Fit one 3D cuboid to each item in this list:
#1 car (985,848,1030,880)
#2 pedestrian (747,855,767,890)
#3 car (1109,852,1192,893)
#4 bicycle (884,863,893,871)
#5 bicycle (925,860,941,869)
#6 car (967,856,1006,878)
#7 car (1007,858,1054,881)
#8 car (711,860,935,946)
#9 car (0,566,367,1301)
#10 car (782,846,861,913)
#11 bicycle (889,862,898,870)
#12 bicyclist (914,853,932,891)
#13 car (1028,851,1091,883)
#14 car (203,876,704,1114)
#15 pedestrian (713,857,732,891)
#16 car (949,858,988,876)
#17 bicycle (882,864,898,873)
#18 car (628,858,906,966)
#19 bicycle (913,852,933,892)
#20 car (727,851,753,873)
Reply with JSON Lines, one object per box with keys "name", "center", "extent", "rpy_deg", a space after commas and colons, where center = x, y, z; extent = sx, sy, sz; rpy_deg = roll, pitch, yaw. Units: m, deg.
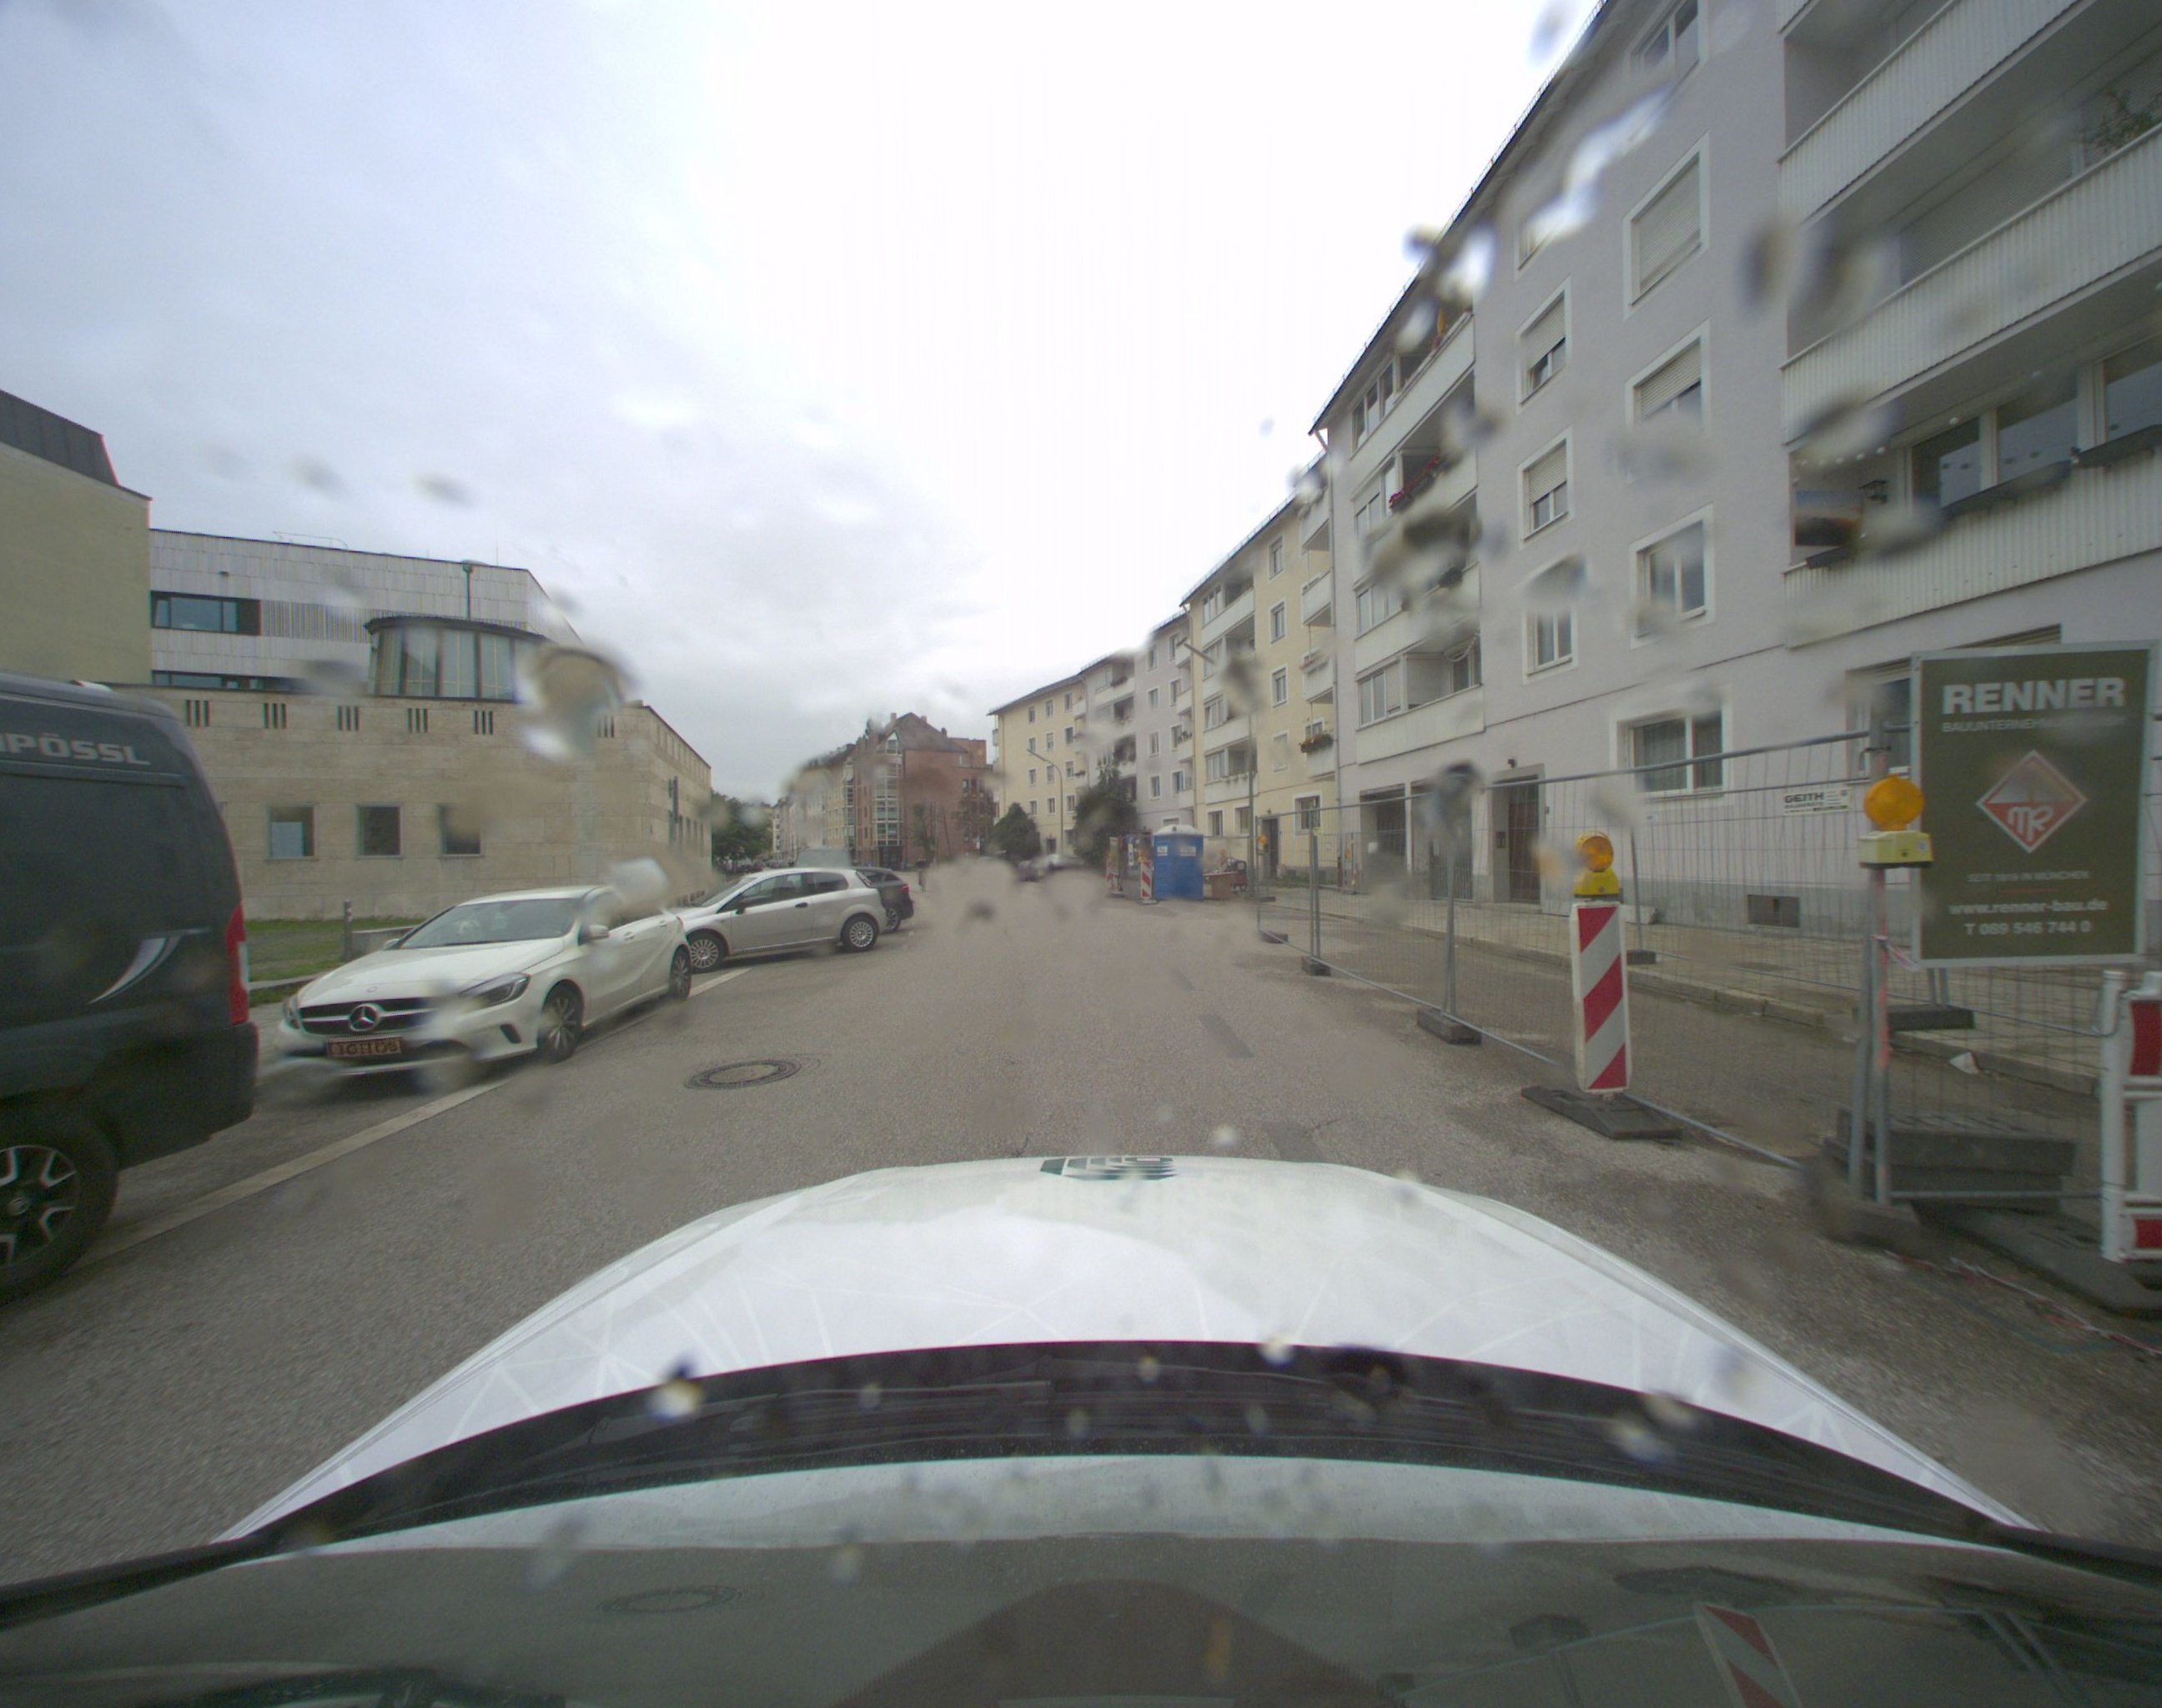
{"name": "car", "center": [-5.066, 0.650, 55.471], "extent": [1.755, 2.081, 4.482], "rpy_deg": [1, 0, -23]}
{"name": "pedestrian", "center": [-16.597, 0.940, 41.711], "extent": [0.795, 1.740, 0.817], "rpy_deg": [1, 0, -13]}
{"name": "car", "center": [2.571, 0.672, 31.251], "extent": [1.833, 1.442, 4.607], "rpy_deg": [1, 0, -14]}
{"name": "bicycle", "center": [-25.042, 1.650, 105.820], "extent": [0.489, 1.060, 1.975], "rpy_deg": [1, -2, -32]}
{"name": "bicycle", "center": [-16.848, 1.227, 92.586], "extent": [1.710, 0.965, 0.541], "rpy_deg": [1, 0, -29]}
{"name": "car", "center": [-7.024, 0.983, 60.336], "extent": [1.665, 1.566, 4.480], "rpy_deg": [1, -1, -23]}
{"name": "car", "center": [-3.200, 0.972, 50.994], "extent": [1.667, 1.349, 3.771], "rpy_deg": [1, -2, -26]}
{"name": "car", "center": [-5.251, 0.936, 16.892], "extent": [4.029, 1.373, 1.728], "rpy_deg": [-3, 0, -42]}
{"name": "car", "center": [-4.810, 0.306, 1.178], "extent": [2.138, 2.574, 6.206], "rpy_deg": [-2, 0, -2]}
{"name": "car", "center": [-7.725, 0.679, 24.618], "extent": [1.997, 1.772, 4.790], "rpy_deg": [-1, 0, -15]}
{"name": "bicycle", "center": [-24.483, 1.584, 106.162], "extent": [0.489, 1.060, 1.976], "rpy_deg": [1, -1, -31]}
{"name": "bicyclist", "center": [-7.424, 0.837, 38.307], "extent": [0.748, 1.717, 1.028], "rpy_deg": [-1, 1, -10]}
{"name": "car", "center": [-1.285, 0.707, 46.260], "extent": [2.035, 1.678, 4.578], "rpy_deg": [1, 0, -23]}
{"name": "car", "center": [-5.342, 1.032, 7.799], "extent": [1.825, 1.387, 4.132], "rpy_deg": [-5, 1, -7]}
{"name": "pedestrian", "center": [-17.506, 0.969, 39.743], "extent": [0.598, 1.601, 0.648], "rpy_deg": [1, 0, 42]}
{"name": "car", "center": [-9.014, 1.072, 64.772], "extent": [1.765, 1.396, 4.006], "rpy_deg": [1, -2, -29]}
{"name": "bicycle", "center": [-24.492, 1.810, 104.435], "extent": [1.856, 1.147, 0.484], "rpy_deg": [1, 0, -24]}
{"name": "car", "center": [-5.130, 0.859, 13.572], "extent": [4.002, 1.530, 1.656], "rpy_deg": [1, 0, -39]}
{"name": "bicycle", "center": [-7.462, 0.820, 38.512], "extent": [0.795, 1.722, 3.104], "rpy_deg": [-3, 1, -10]}
{"name": "car", "center": [-45.733, 1.088, 109.117], "extent": [2.438, 2.715, 5.894], "rpy_deg": [-2, 0, -31]}
